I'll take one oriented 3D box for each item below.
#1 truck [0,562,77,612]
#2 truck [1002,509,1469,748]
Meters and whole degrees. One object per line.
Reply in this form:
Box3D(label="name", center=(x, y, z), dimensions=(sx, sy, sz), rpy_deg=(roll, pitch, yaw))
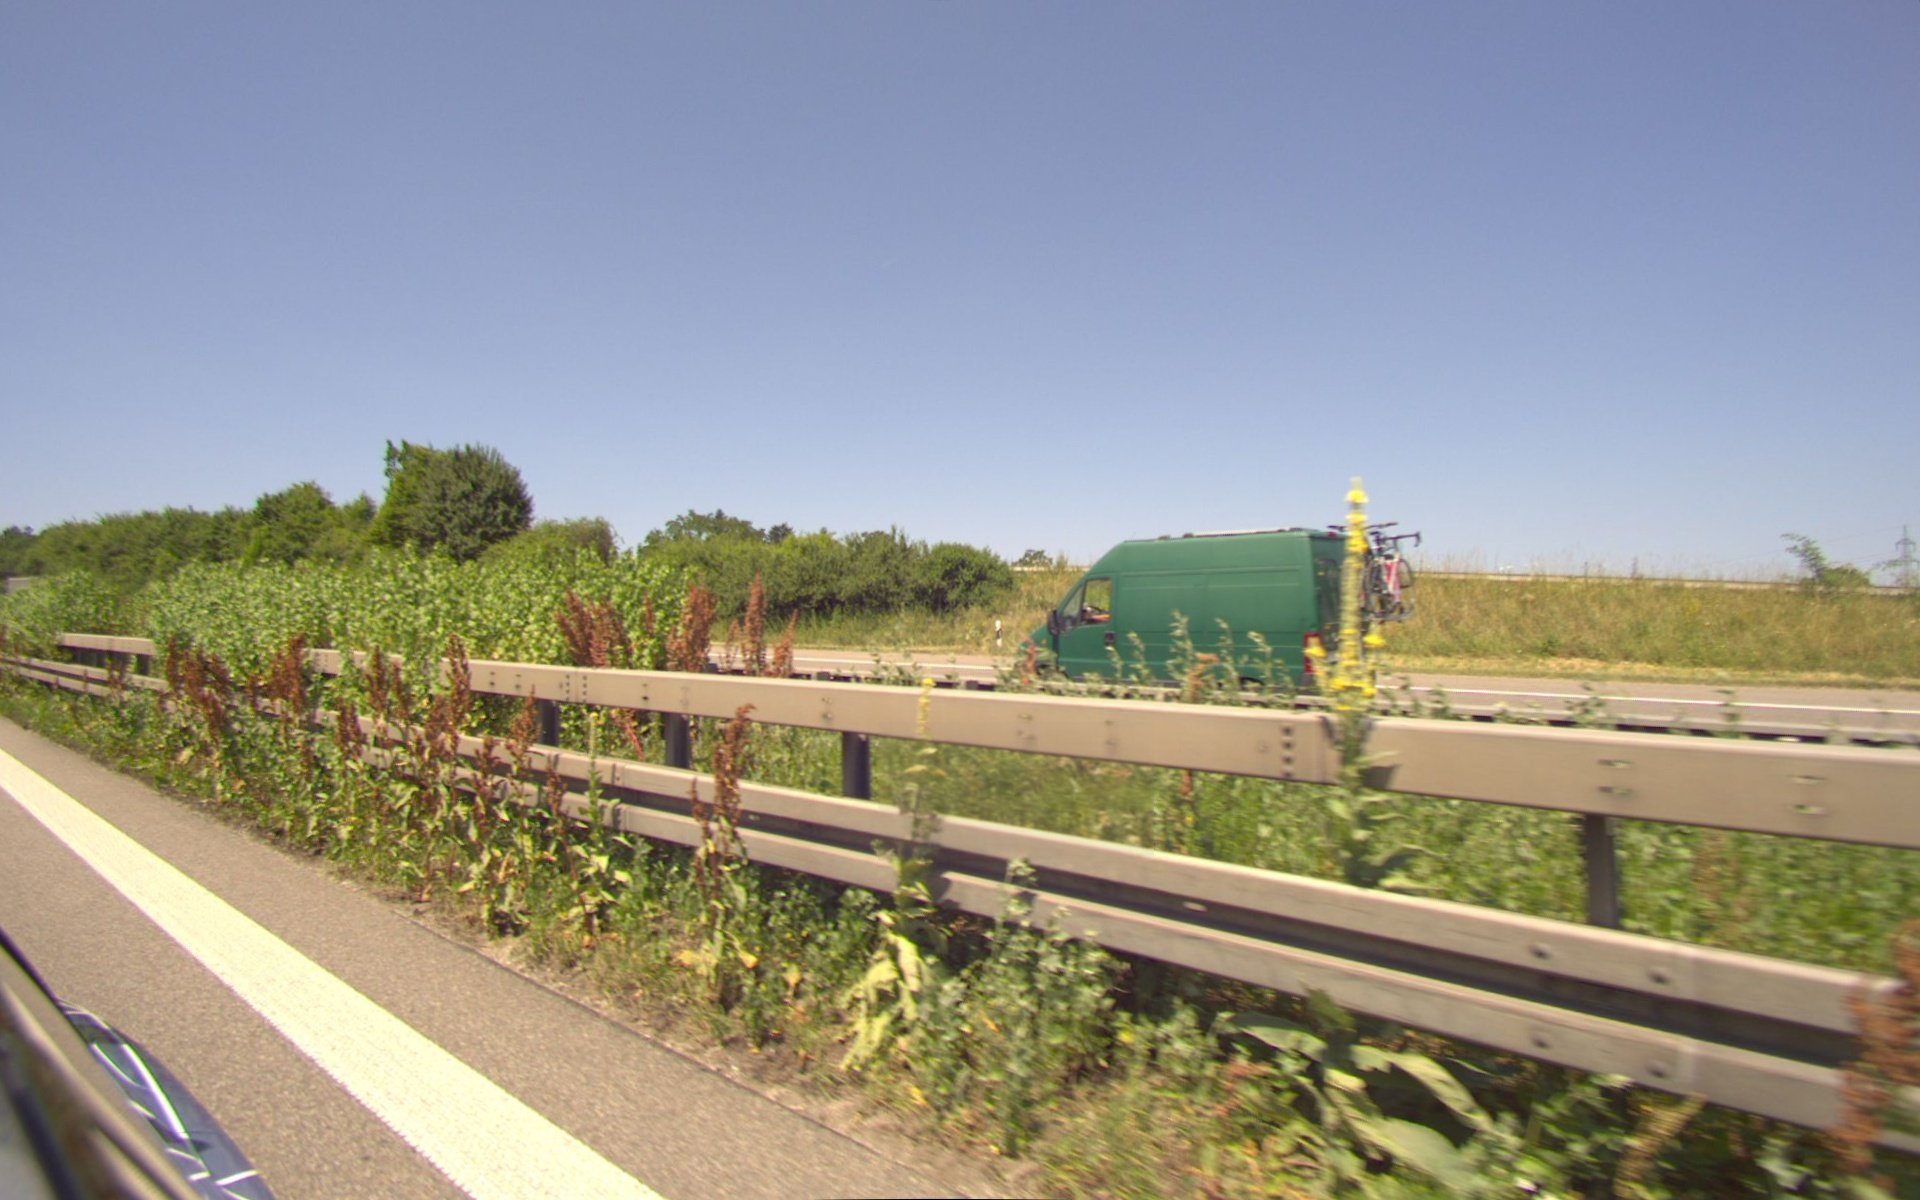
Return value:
Box3D(label="truck", center=(-82.988, -1.039, 90.718), dimensions=(16.808, 4.044, 2.946), rpy_deg=(-1, 0, 39))
Box3D(label="truck", center=(3.344, 0.338, 13.213), dimensions=(5.560, 2.506, 1.999), rpy_deg=(-1, -1, 41))
